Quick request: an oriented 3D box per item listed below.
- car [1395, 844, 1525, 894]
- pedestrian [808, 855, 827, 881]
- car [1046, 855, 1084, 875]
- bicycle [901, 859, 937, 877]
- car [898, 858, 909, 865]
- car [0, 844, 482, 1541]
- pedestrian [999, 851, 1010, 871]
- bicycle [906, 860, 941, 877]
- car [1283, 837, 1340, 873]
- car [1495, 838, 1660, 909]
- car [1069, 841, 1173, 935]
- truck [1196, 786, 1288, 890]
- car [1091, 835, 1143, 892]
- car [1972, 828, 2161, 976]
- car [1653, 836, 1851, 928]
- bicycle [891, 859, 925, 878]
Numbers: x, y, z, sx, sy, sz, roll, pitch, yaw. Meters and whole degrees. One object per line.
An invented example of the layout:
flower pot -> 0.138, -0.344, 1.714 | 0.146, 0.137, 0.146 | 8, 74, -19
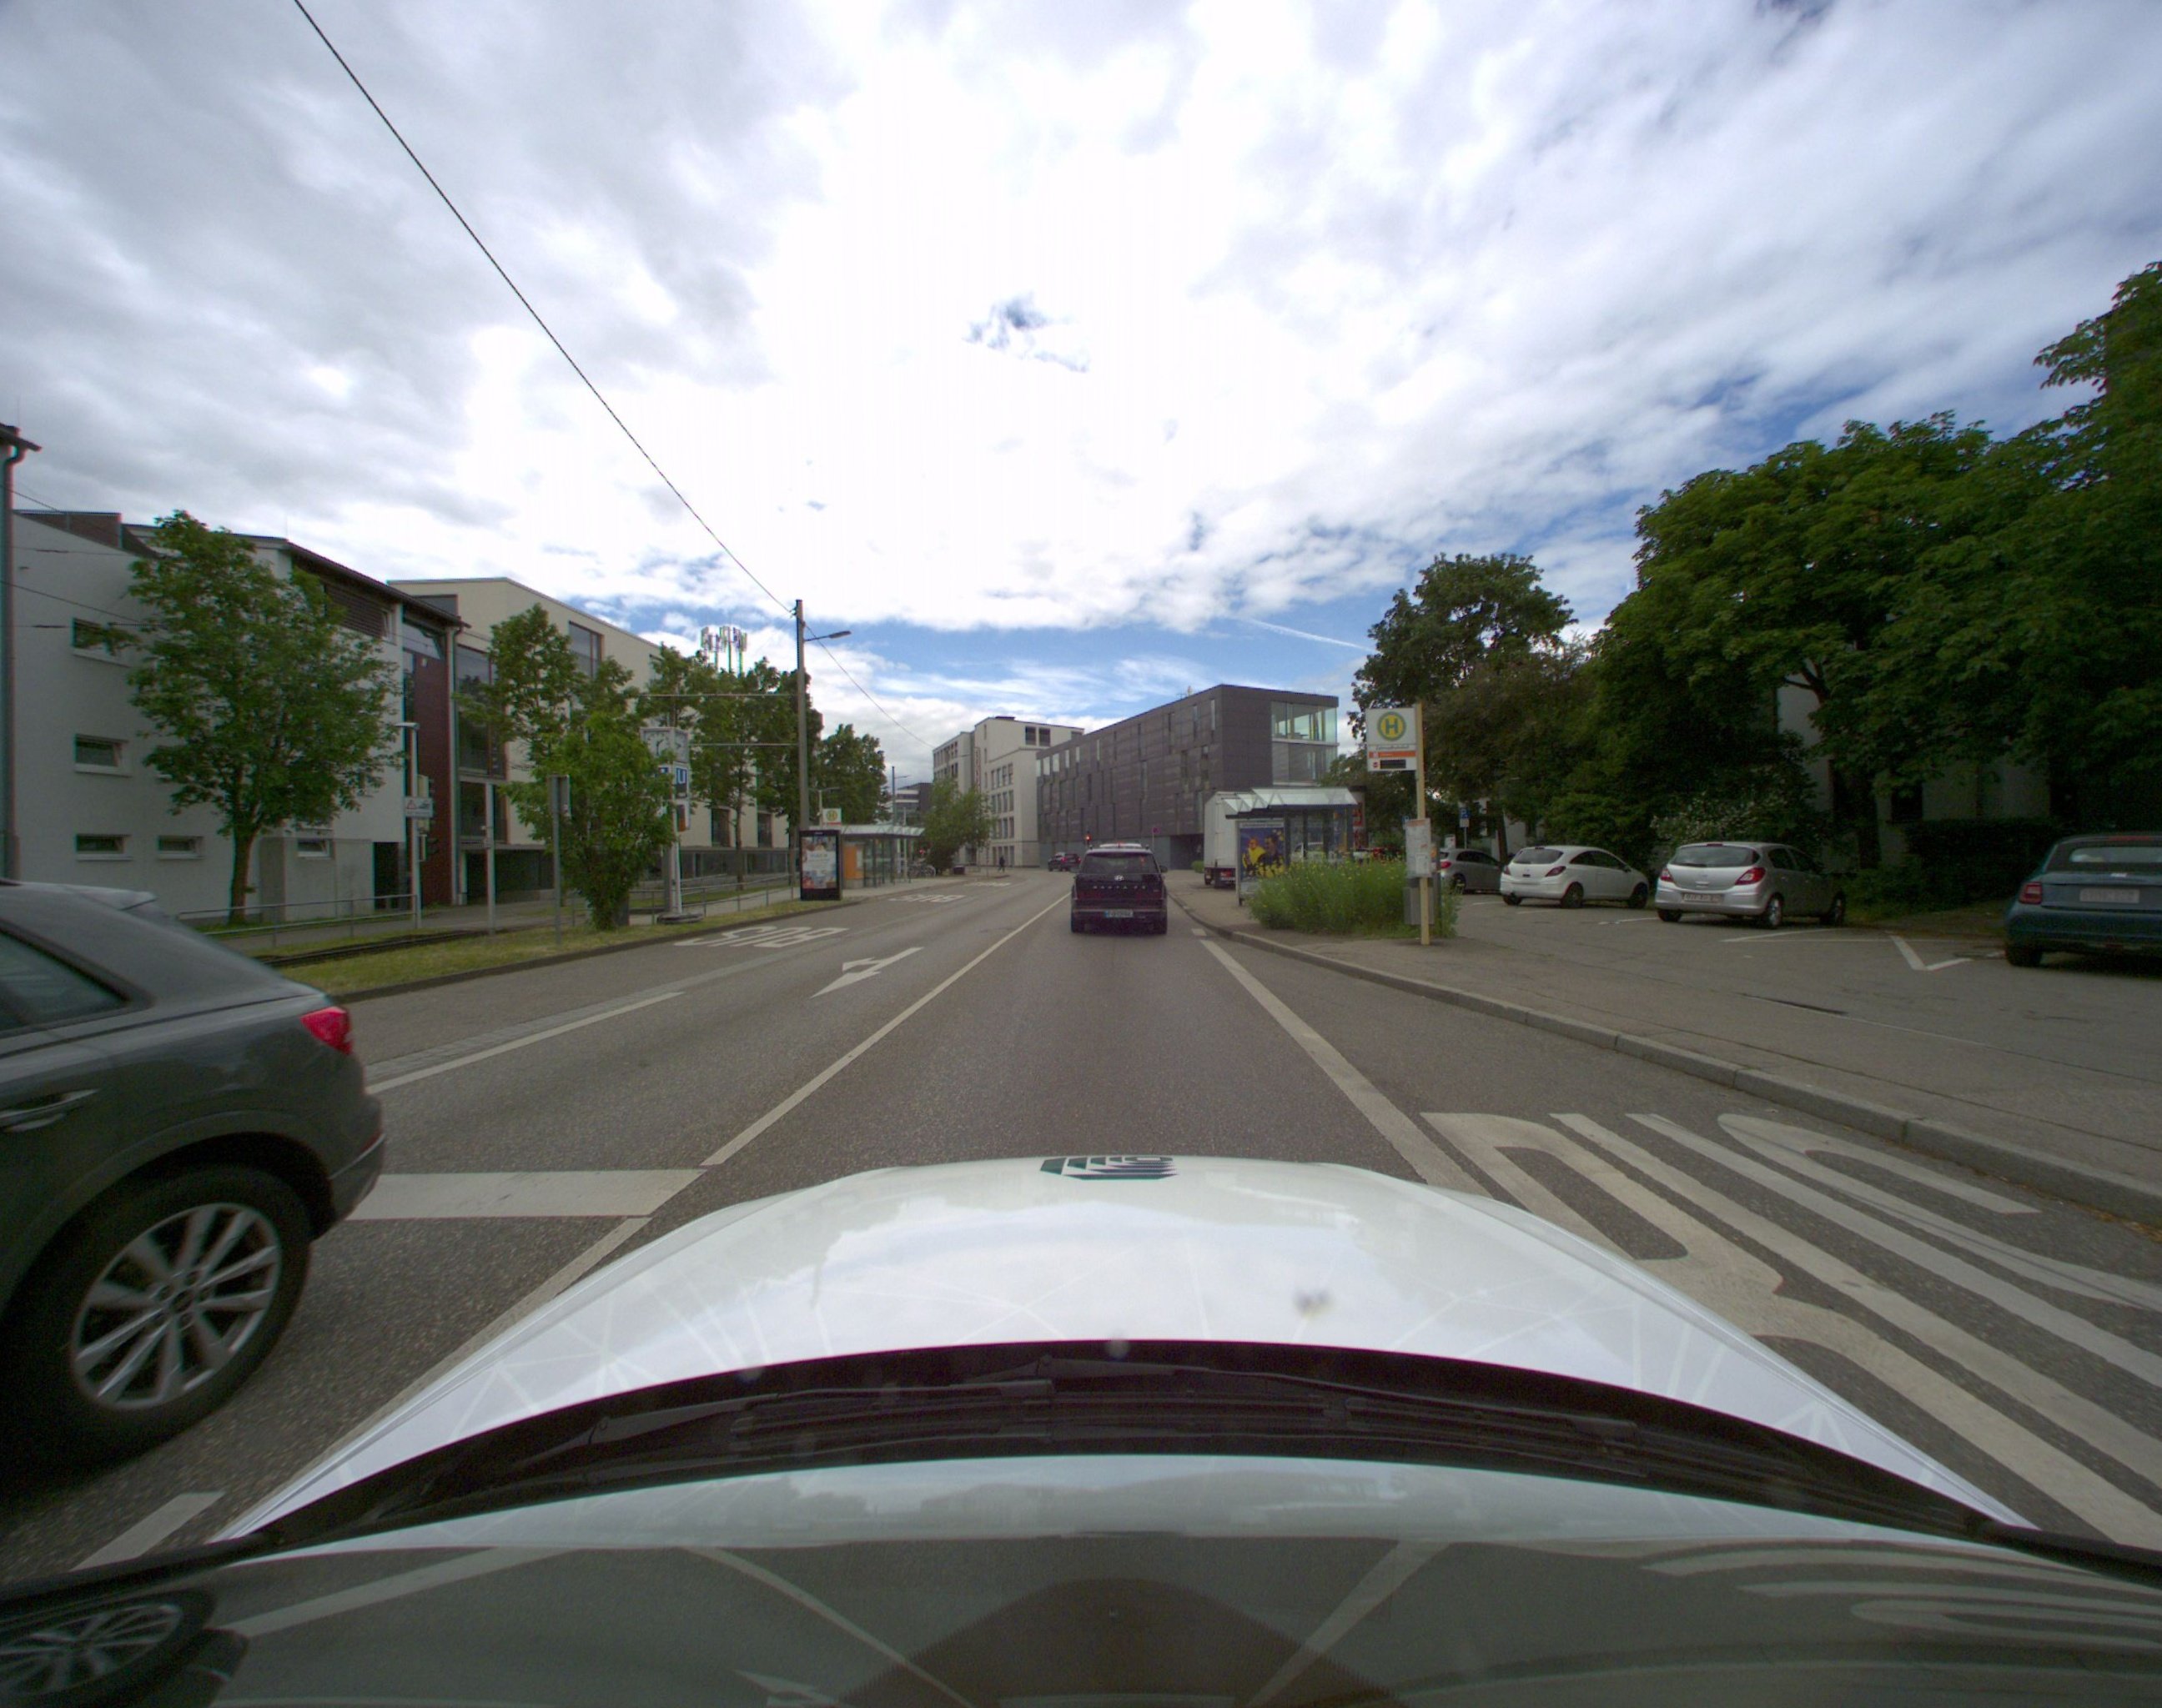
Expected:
car -> 11.888, 0.475, 25.504 | 3.812, 1.474, 1.782 | 1, -1, -28
pedestrian -> -18.096, 0.946, 55.975 | 0.916, 1.719, 0.907 | -1, 0, 1
car -> -1.455, 0.973, 71.919 | 1.855, 1.677, 4.343 | -2, 0, -21
bicycle -> -10.262, 0.904, 51.639 | 2.090, 1.106, 0.632 | 0, 0, 3
car -> -36.297, 1.543, 166.581 | 1.903, 1.486, 3.980 | -1, 0, -15
car -> -3.330, 0.786, 1.150 | 1.733, 1.559, 4.185 | -2, 0, 2
pedestrian -> -7.205, 0.640, 76.706 | 0.938, 1.800, 0.589 | -1, 0, -9
bicycle -> -10.112, 0.915, 52.356 | 2.089, 1.106, 0.632 | 0, 0, 4
car -> 12.759, 0.070, 45.345 | 1.986, 1.838, 4.520 | -3, -1, 2
car -> 11.899, 0.446, 19.511 | 3.656, 1.435, 1.578 | -3, -1, -25
car -> 0.756, 0.618, 17.163 | 1.909, 1.725, 4.170 | 0, 0, 0
truck -> 6.117, -0.566, 32.086 | 2.562, 3.525, 7.819 | -1, 0, 4
car -> 1.371, 0.319, 31.702 | 1.848, 2.033, 4.439 | -1, 0, 2
car -> 12.317, 0.455, 9.430 | 4.012, 1.477, 1.862 | -1, 0, -30
car -> 11.973, 0.415, 14.507 | 3.526, 1.378, 1.533 | -2, 2, -29
bicycle -> -10.521, 0.874, 49.420 | 1.920, 1.106, 0.588 | 0, 0, 3
